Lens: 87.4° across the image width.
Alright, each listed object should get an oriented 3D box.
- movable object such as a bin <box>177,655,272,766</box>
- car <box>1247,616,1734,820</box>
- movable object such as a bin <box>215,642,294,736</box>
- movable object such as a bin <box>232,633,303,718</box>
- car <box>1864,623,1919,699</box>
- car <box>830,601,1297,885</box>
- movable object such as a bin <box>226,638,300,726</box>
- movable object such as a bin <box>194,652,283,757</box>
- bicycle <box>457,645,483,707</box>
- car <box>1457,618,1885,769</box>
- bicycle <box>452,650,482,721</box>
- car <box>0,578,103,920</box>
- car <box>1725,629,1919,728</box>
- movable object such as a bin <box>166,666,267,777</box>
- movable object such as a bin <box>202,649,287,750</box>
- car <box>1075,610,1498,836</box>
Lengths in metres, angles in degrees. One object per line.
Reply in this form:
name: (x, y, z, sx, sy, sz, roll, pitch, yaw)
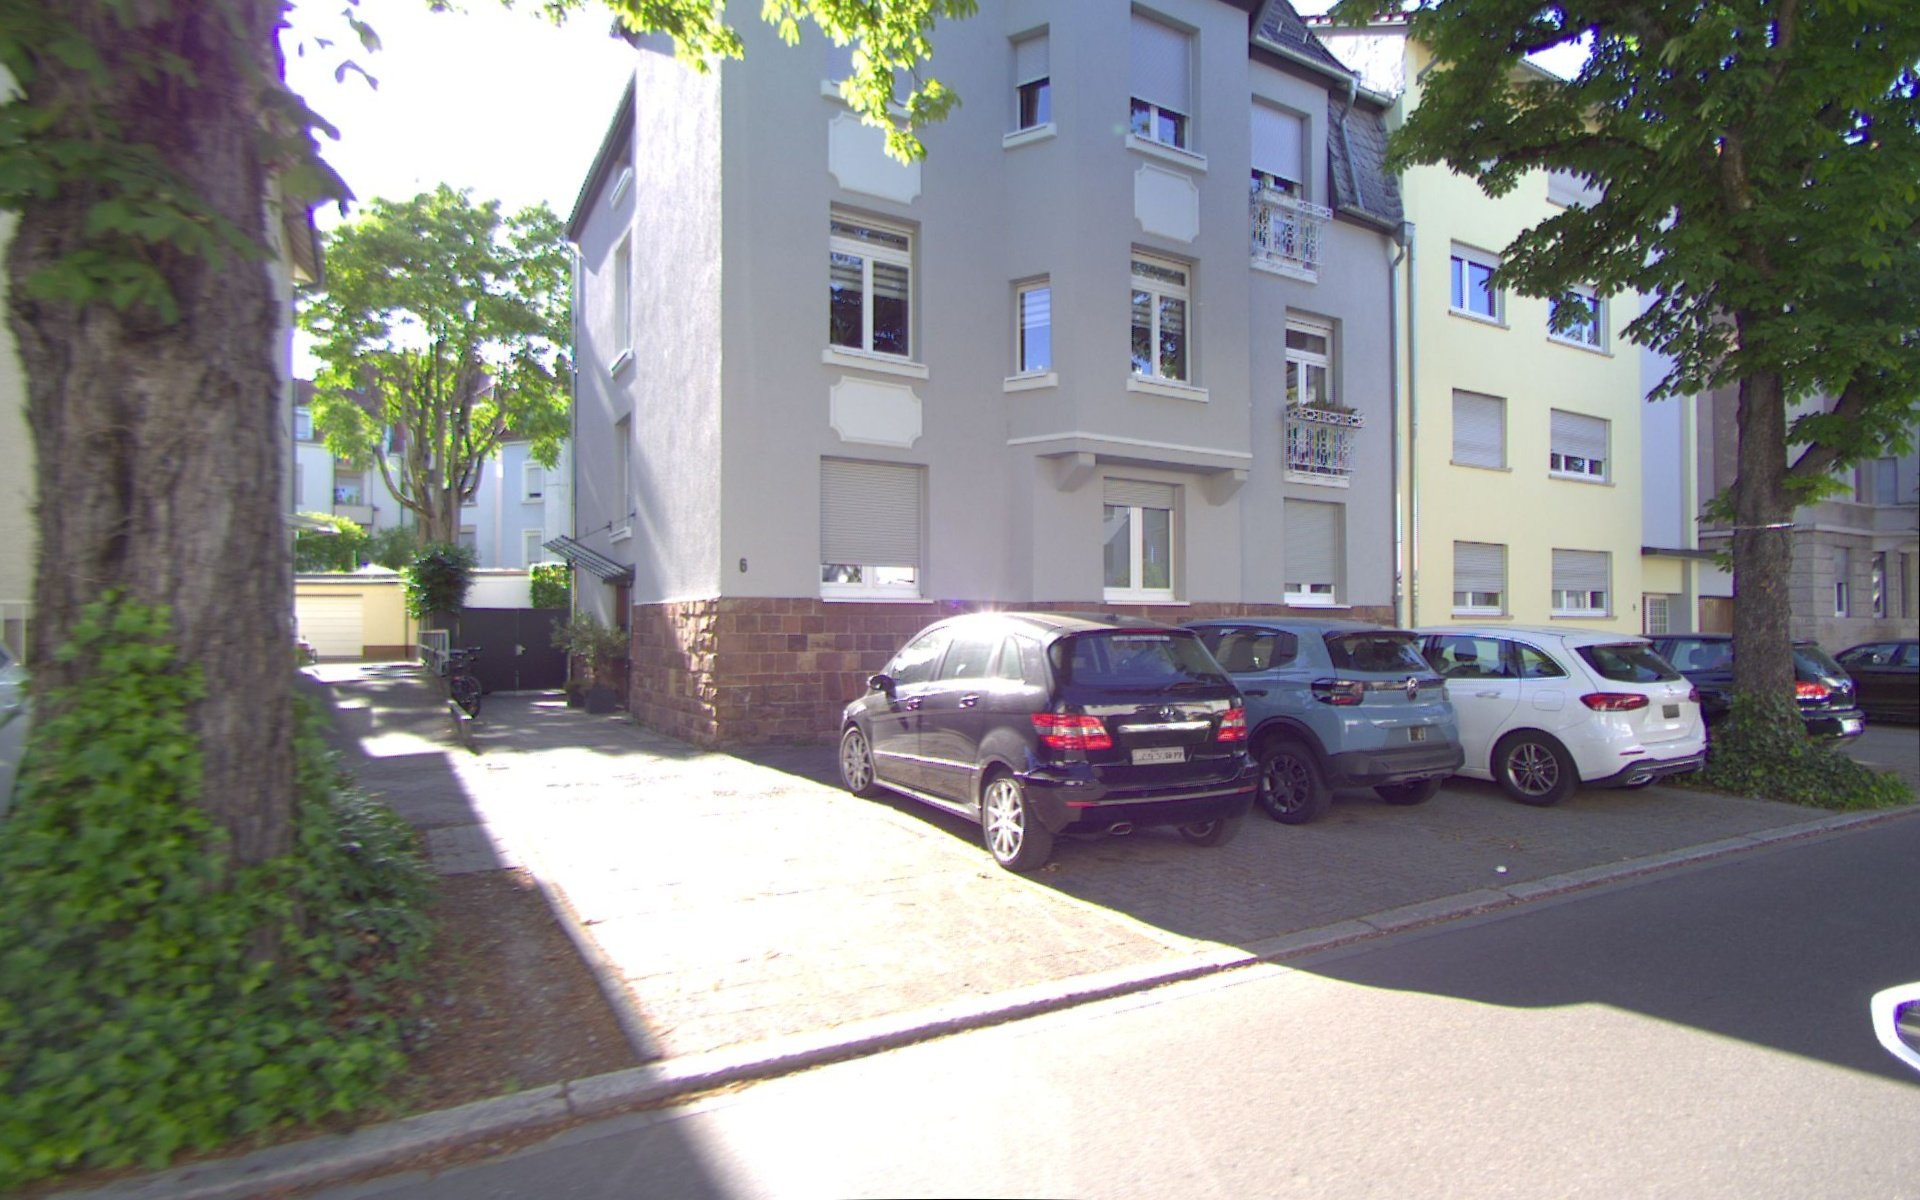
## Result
movable object such as a bin: (-7.522, 1.114, 10.299, 0.698, 1.062, 0.528, 2, 0, -31)
car: (5.024, 0.972, 10.105, 1.786, 1.504, 4.003, 1, 0, -30)
movable object such as a bin: (-8.482, 1.057, 12.094, 0.698, 1.062, 0.528, 2, 0, -31)
movable object such as a bin: (-9.152, 0.989, 13.293, 0.698, 1.062, 0.528, 2, 0, -31)
car: (21.098, 1.319, 20.110, 1.982, 1.520, 4.142, 2, 0, -37)
car: (0.505, 0.819, 7.804, 1.824, 1.596, 3.849, 1, 0, -27)
movable object such as a bin: (-8.831, 1.032, 12.747, 0.698, 1.062, 0.528, 2, 0, -31)
movable object such as a bin: (-7.750, 1.110, 10.821, 0.698, 1.062, 0.528, 2, 0, -31)
bicycle: (-9.188, 1.406, 18.823, 0.300, 1.028, 1.613, 2, 0, -30)
car: (8.665, 1.029, 12.587, 1.781, 1.463, 3.997, 2, 0, -34)
bicycle: (-7.900, 1.346, 16.075, 0.300, 0.994, 1.613, 2, 0, -30)
car: (-5.325, 0.716, 4.171, 1.801, 1.674, 4.369, -1, -2, -29)
car: (15.470, 1.276, 16.754, 1.750, 1.441, 3.967, 0, 0, -31)
movable object such as a bin: (-7.207, 1.156, 9.761, 0.698, 0.988, 0.581, 2, 0, -30)
movable object such as a bin: (-8.044, 1.103, 11.312, 0.698, 1.062, 0.528, 2, 0, -31)
car: (2.755, 0.916, 9.224, 1.748, 1.596, 3.502, 1, 0, -27)
